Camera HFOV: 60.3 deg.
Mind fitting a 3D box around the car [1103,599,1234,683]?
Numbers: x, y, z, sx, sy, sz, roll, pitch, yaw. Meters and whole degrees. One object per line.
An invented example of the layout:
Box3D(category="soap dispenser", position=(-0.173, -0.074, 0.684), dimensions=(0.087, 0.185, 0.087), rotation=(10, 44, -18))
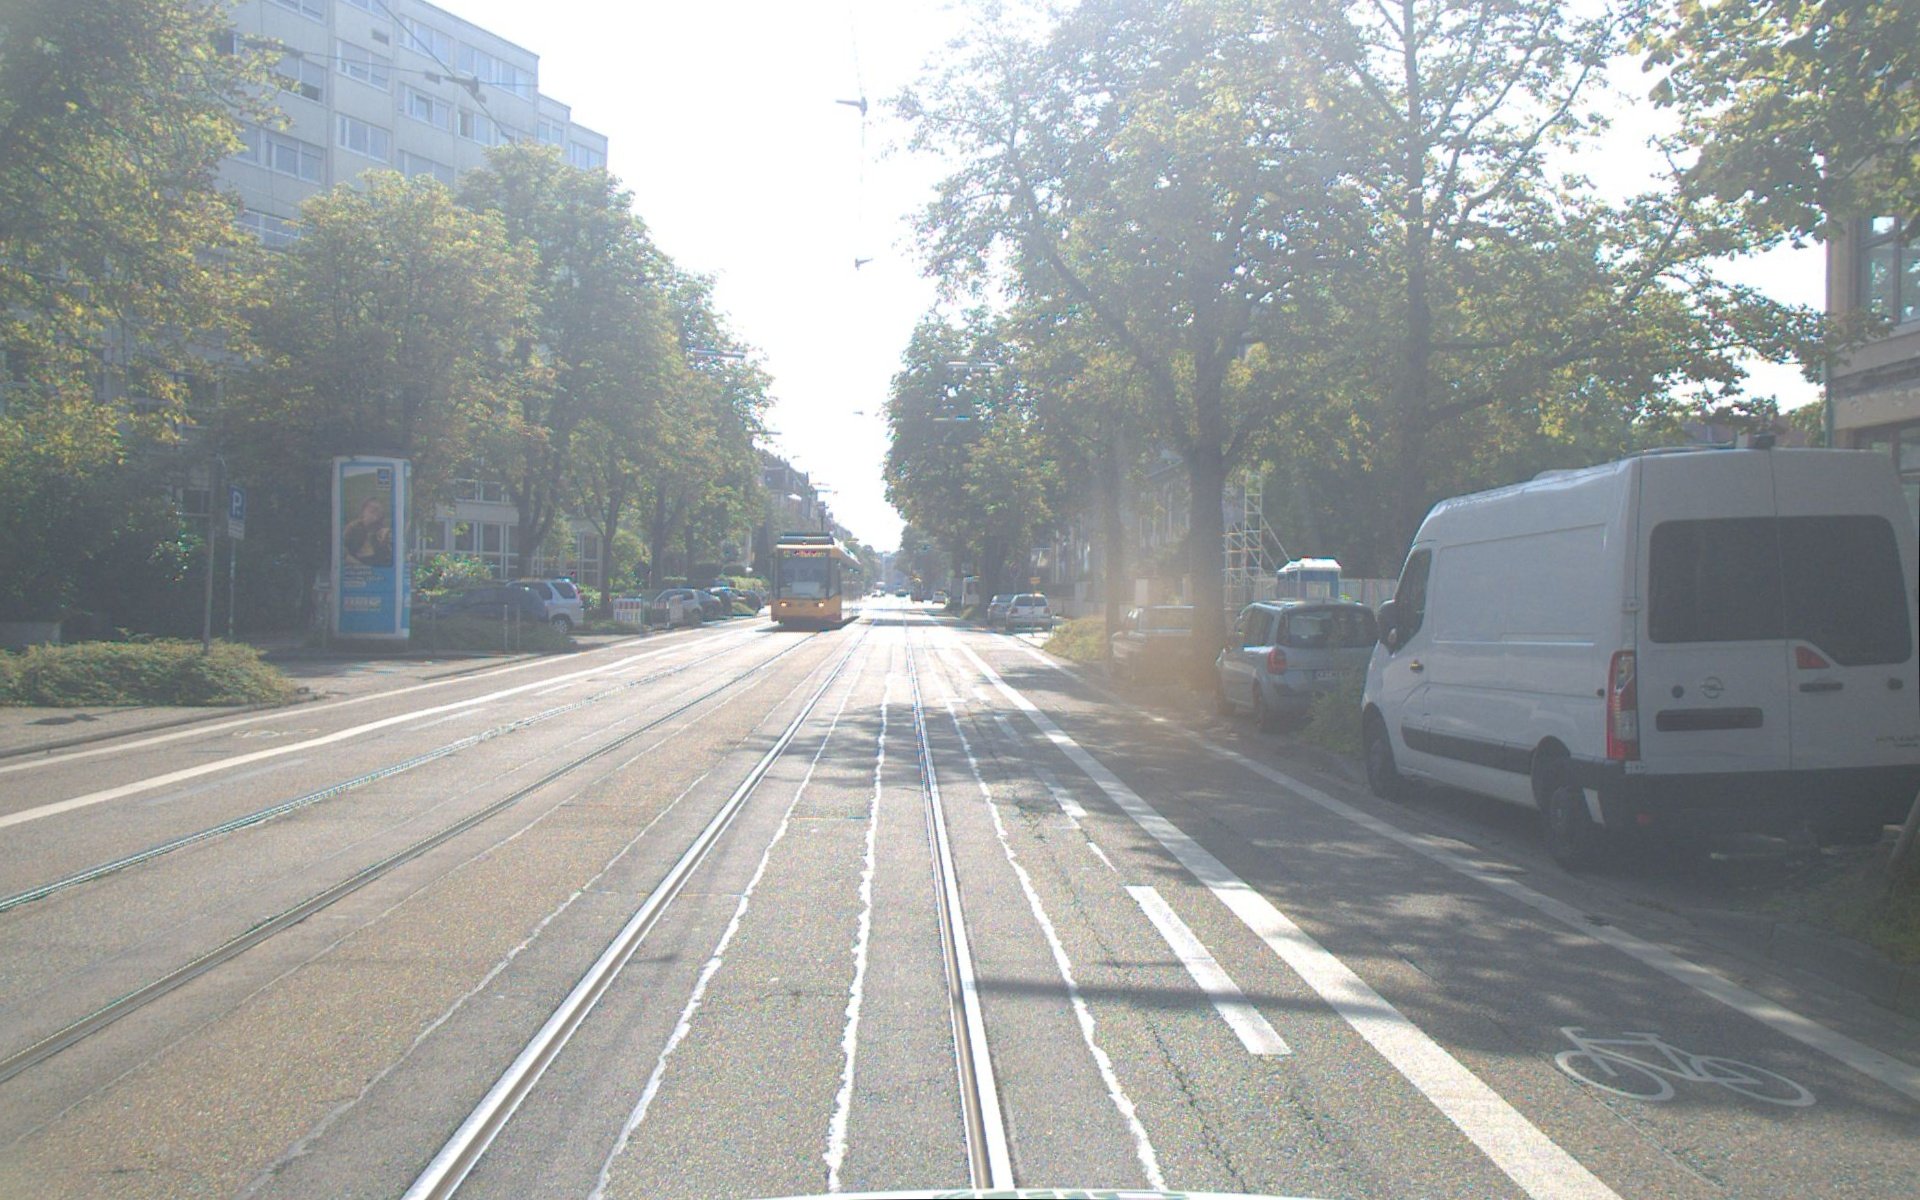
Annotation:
Box3D(category="car", position=(3.857, 0.717, 31.285), dimensions=(1.718, 1.401, 4.717), rotation=(-1, 0, -2))

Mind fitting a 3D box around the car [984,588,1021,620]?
Box3D(category="car", position=(1.971, 0.174, 78.158), dimensions=(1.562, 1.443, 3.633), rotation=(1, 0, -1))

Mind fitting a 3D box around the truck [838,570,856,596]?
Box3D(category="truck", position=(-13.275, -1.973, 194.530), dimensions=(1.954, 3.027, 4.568), rotation=(0, 0, -3))

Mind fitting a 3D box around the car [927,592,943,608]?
Box3D(category="car", position=(-3.009, -0.065, 199.058), dimensions=(1.953, 1.870, 3.999), rotation=(1, 0, -1))

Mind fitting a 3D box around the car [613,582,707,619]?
Box3D(category="car", position=(-12.235, 0.019, 67.657), dimensions=(1.540, 1.468, 3.747), rotation=(1, 0, 37))

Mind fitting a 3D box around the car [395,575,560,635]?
Box3D(category="car", position=(-12.445, 0.119, 42.792), dimensions=(3.768, 1.467, 1.666), rotation=(0, 0, -45))

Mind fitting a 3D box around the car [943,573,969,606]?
Box3D(category="car", position=(-0.353, -0.847, 132.886), dimensions=(1.964, 2.518, 4.476), rotation=(1, 0, -1))

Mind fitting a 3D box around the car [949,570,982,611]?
Box3D(category="car", position=(0.341, -0.612, 106.229), dimensions=(1.964, 2.534, 4.476), rotation=(1, 0, -1))

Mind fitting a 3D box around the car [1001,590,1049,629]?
Box3D(category="car", position=(2.513, 0.354, 64.438), dimensions=(1.655, 1.443, 3.633), rotation=(1, 0, -1))

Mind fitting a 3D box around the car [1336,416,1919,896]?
Box3D(category="car", position=(4.581, 0.278, 12.033), dimensions=(2.041, 2.597, 5.498), rotation=(-3, 1, -4))

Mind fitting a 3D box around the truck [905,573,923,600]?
Box3D(category="truck", position=(-5.419, -1.607, 194.739), dimensions=(1.824, 3.185, 4.349), rotation=(1, 0, -4))

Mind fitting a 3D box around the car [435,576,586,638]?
Box3D(category="car", position=(-12.549, 0.184, 46.304), dimensions=(1.714, 1.650, 3.771), rotation=(1, 0, 43))

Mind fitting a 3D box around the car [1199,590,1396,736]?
Box3D(category="car", position=(4.228, 0.720, 21.271), dimensions=(1.631, 1.645, 3.876), rotation=(-1, 1, -2))

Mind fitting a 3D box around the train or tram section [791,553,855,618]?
Box3D(category="train or tram section", position=(-6.325, -0.676, 77.278), dimensions=(2.674, 2.899, 6.540), rotation=(0, 0, -2))

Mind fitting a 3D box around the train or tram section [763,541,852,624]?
Box3D(category="train or tram section", position=(-5.910, -0.657, 66.265), dimensions=(2.674, 2.945, 15.448), rotation=(0, 0, -2))
